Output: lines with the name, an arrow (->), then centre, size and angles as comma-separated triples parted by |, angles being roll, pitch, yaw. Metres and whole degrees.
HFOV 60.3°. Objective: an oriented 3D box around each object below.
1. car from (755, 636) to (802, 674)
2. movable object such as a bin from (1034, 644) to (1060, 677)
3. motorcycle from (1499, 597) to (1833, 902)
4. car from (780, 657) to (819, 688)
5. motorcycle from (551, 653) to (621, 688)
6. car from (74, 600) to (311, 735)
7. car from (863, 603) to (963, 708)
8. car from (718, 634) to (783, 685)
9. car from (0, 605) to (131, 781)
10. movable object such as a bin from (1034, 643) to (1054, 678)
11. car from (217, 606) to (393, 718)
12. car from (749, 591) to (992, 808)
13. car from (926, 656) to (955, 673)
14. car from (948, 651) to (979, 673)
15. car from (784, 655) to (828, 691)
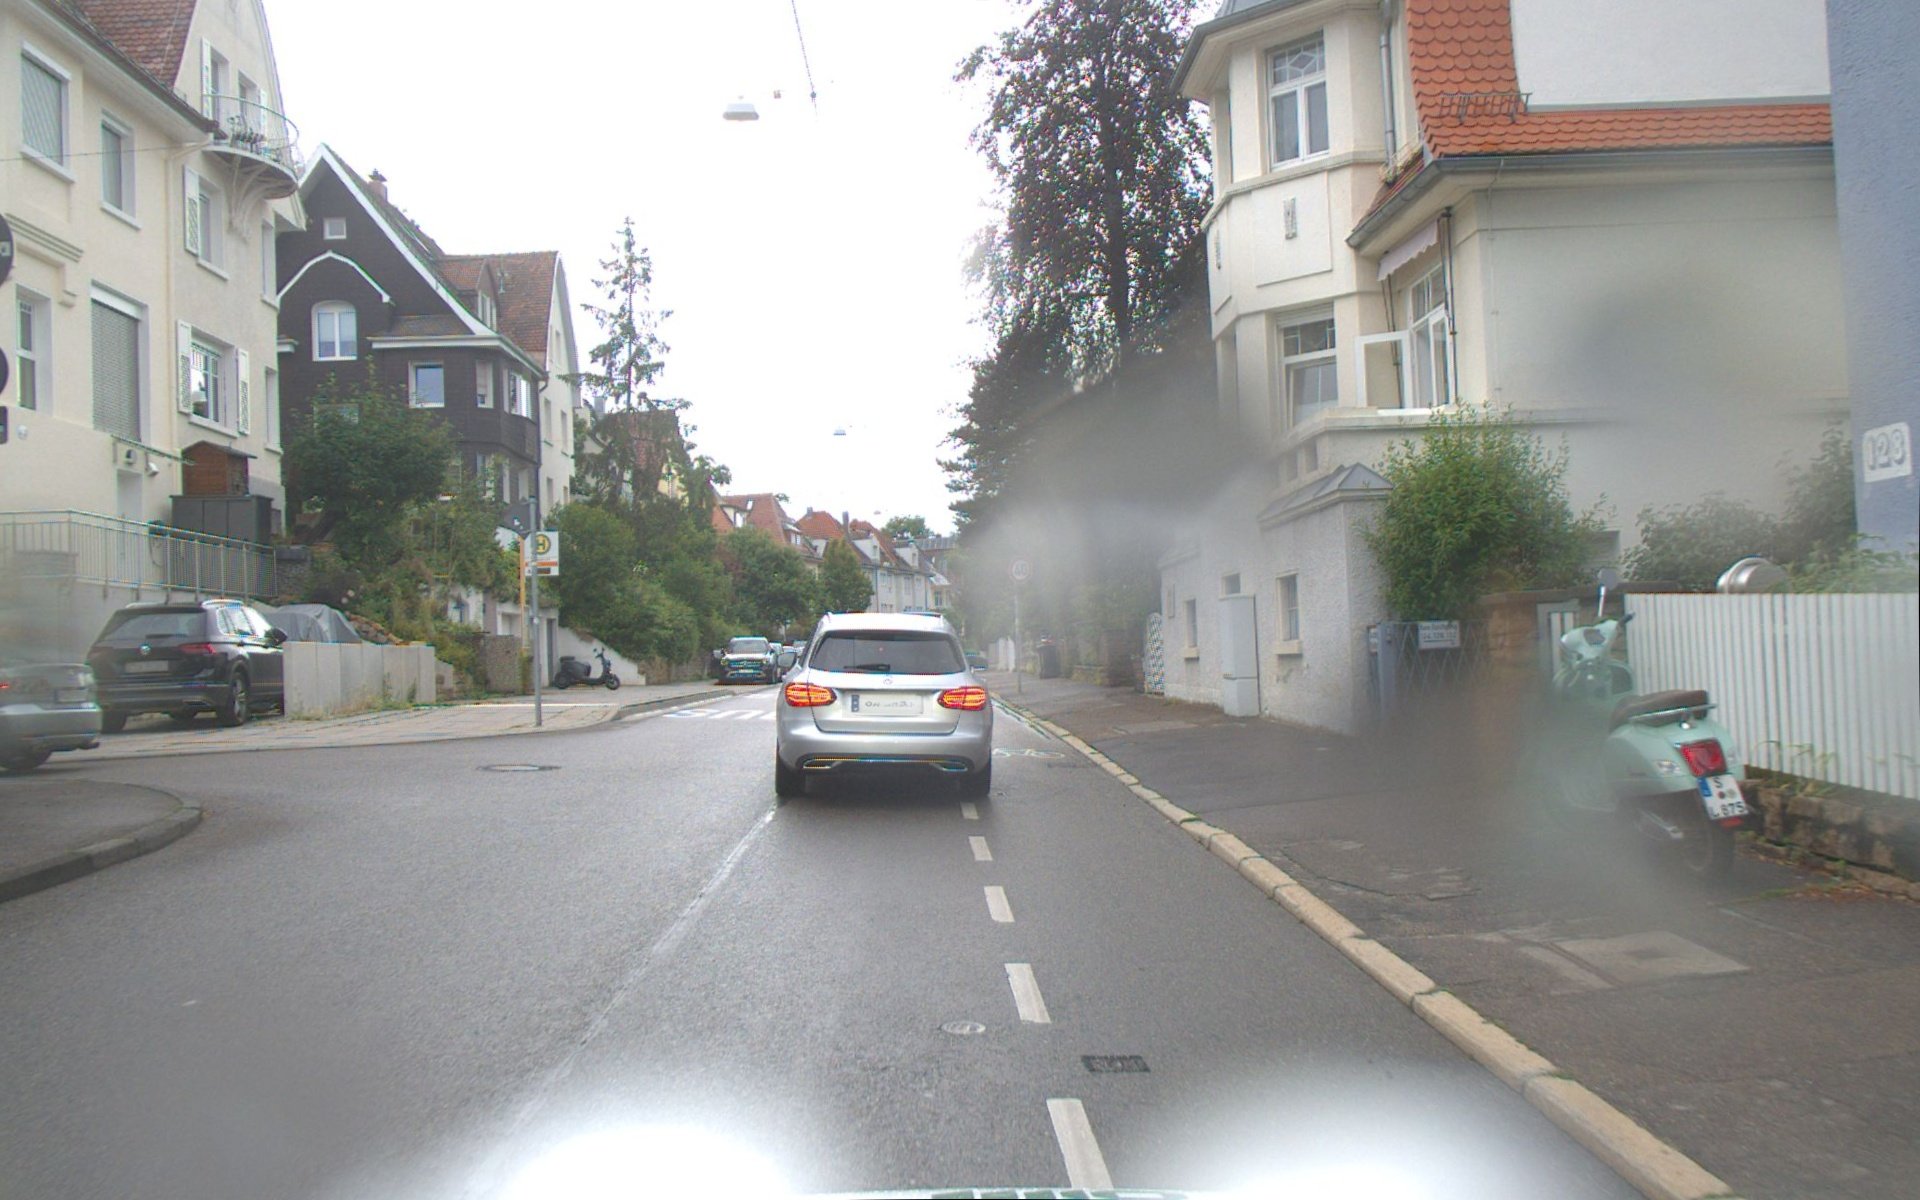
car -> -7.839, 2.356, 71.712 | 1.721, 1.472, 4.413 | -1, 0, -3
movable object such as a bin -> 2.414, 1.667, 45.803 | 0.638, 0.870, 0.503 | -1, -1, -4
motorcycle -> 3.438, 0.659, 8.314 | 0.679, 1.246, 2.154 | -8, -1, 2
car -> -8.100, 3.670, 83.728 | 1.660, 1.472, 3.812 | -1, -2, -1
motorcycle -> -10.153, 1.925, 44.907 | 1.758, 0.919, 0.603 | 1, -2, -3
car -> -10.396, 0.856, 22.733 | 1.732, 1.646, 3.995 | -1, 0, -6
car -> -0.874, 1.139, 33.005 | 1.805, 1.937, 3.999 | -1, -3, 1
car -> -7.186, 2.033, 56.993 | 1.855, 1.651, 4.376 | -1, -2, -3
car -> -10.529, 0.801, 15.750 | 4.284, 1.584, 1.818 | 2, -1, -9
movable object such as a bin -> 2.345, 1.689, 46.353 | 0.484, 0.972, 0.503 | -1, -1, -4
car -> -11.003, 0.988, 28.055 | 1.732, 1.726, 3.995 | -1, 0, -6
car -> -0.713, 0.750, 14.225 | 1.779, 1.584, 3.998 | 0, -1, -2
car -> -1.787, 5.915, 151.917 | 1.608, 1.442, 4.616 | -1, -2, 12
car -> 0.373, 5.997, 159.211 | 1.790, 2.092, 5.012 | -1, -3, 15
car -> -8.441, 3.978, 90.955 | 1.953, 1.911, 5.354 | 0, -2, -1
